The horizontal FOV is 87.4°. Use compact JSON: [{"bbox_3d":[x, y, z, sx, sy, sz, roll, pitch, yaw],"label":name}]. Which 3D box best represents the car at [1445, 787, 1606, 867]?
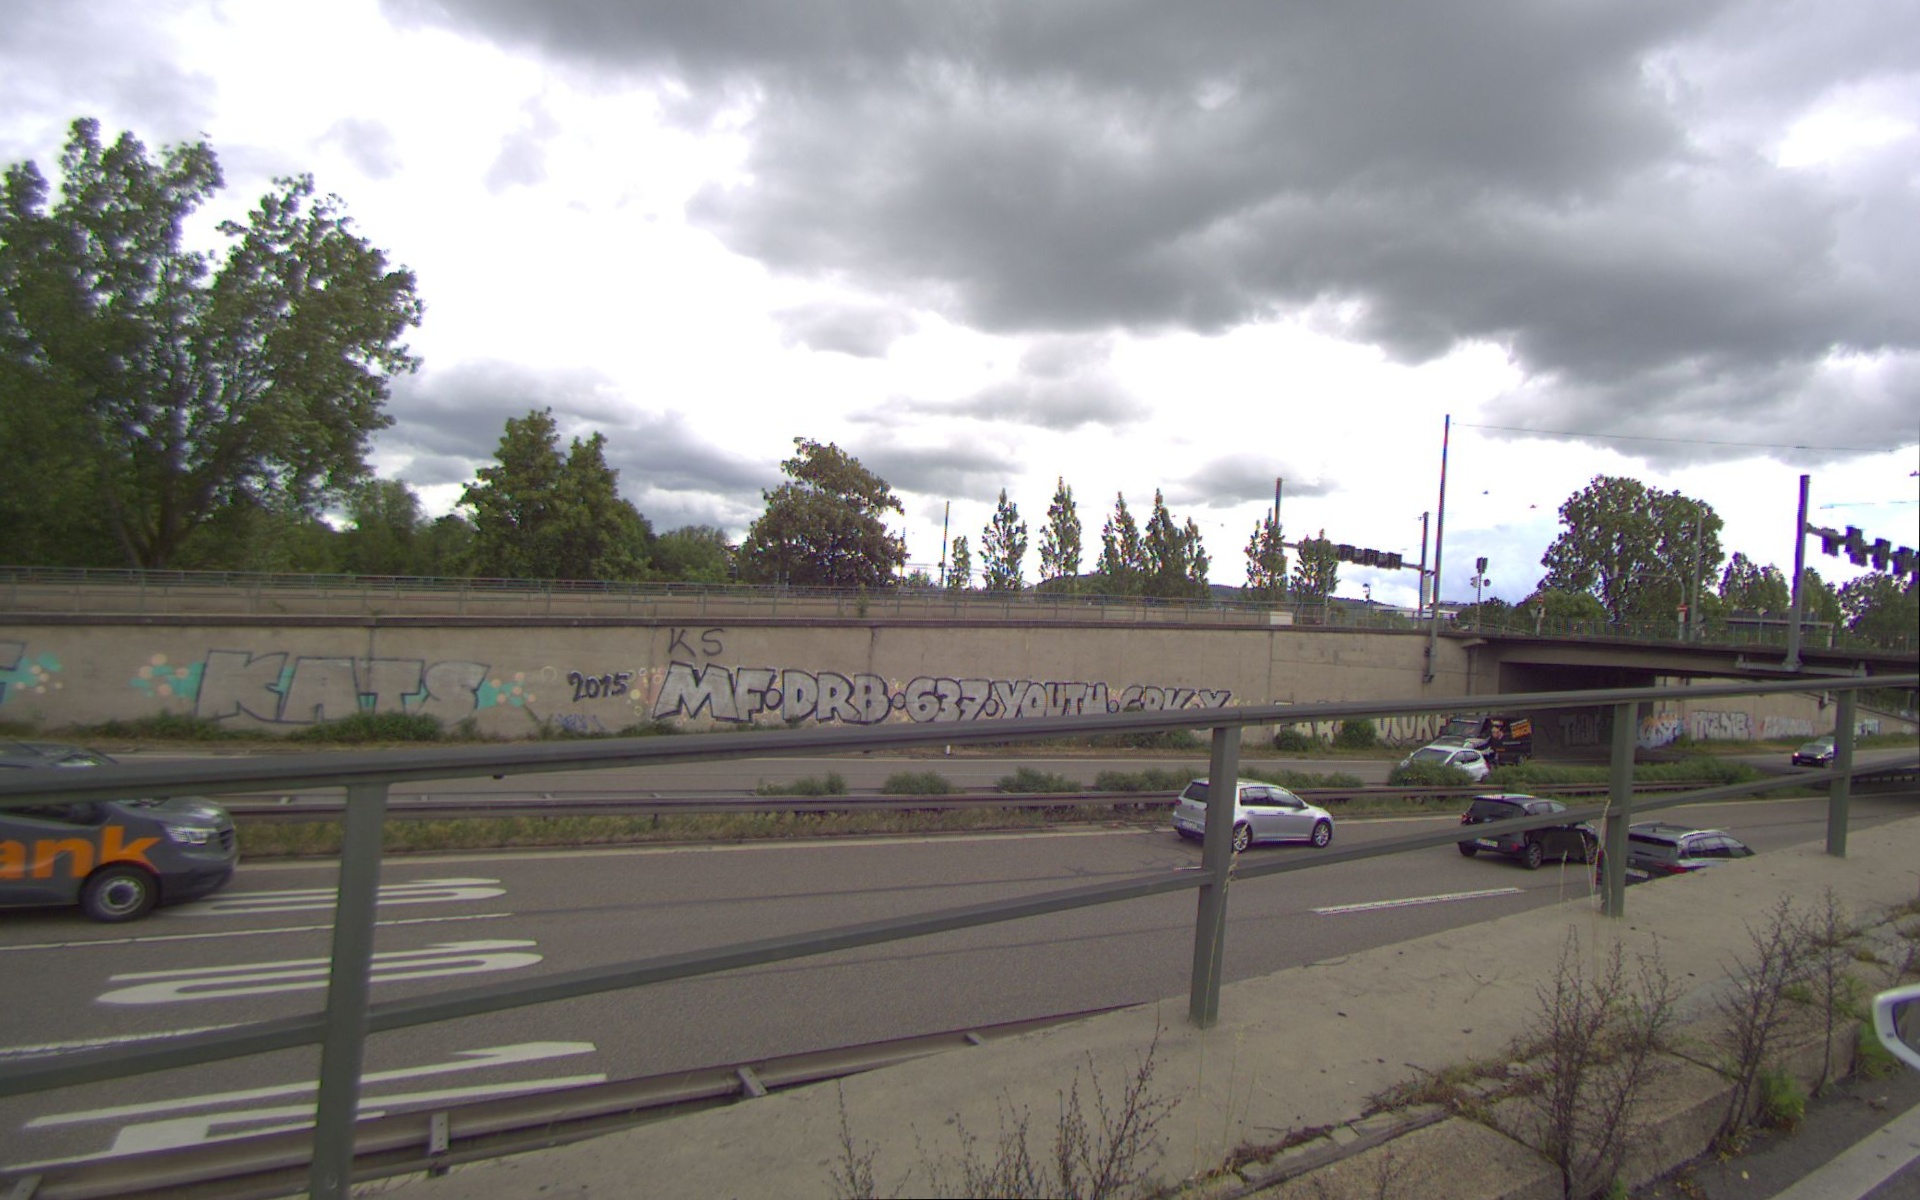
[{"bbox_3d":[13.070,5.171,23.185,3.609,1.344,1.714,5,-3,-32],"label":"car"}]

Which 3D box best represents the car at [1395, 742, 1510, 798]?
[{"bbox_3d":[18.311,6.285,37.328,3.957,1.683,1.983,6,-2,-31],"label":"car"}]

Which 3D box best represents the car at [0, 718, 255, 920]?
[{"bbox_3d":[-11.766,2.514,11.878,5.280,2.039,2.083,6,-3,-31],"label":"car"}]

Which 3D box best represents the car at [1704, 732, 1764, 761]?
[{"bbox_3d":[53.743,10.193,69.724,3.957,1.683,1.983,6,-2,-31],"label":"car"}]

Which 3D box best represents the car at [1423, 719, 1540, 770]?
[{"bbox_3d":[26.099,7.226,50.202,6.115,2.182,2.279,6,-3,-31],"label":"car"}]

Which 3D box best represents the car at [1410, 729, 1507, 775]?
[{"bbox_3d":[22.099,6.734,44.482,3.957,1.683,1.983,6,-2,-31],"label":"car"}]

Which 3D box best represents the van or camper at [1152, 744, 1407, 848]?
[{"bbox_3d":[7.538,4.469,23.359,6.277,1.893,1.873,6,-2,-31],"label":"van or camper"}]

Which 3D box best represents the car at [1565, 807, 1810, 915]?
[{"bbox_3d":[14.230,5.024,19.665,4.242,1.520,1.932,4,-3,-22],"label":"car"}]
